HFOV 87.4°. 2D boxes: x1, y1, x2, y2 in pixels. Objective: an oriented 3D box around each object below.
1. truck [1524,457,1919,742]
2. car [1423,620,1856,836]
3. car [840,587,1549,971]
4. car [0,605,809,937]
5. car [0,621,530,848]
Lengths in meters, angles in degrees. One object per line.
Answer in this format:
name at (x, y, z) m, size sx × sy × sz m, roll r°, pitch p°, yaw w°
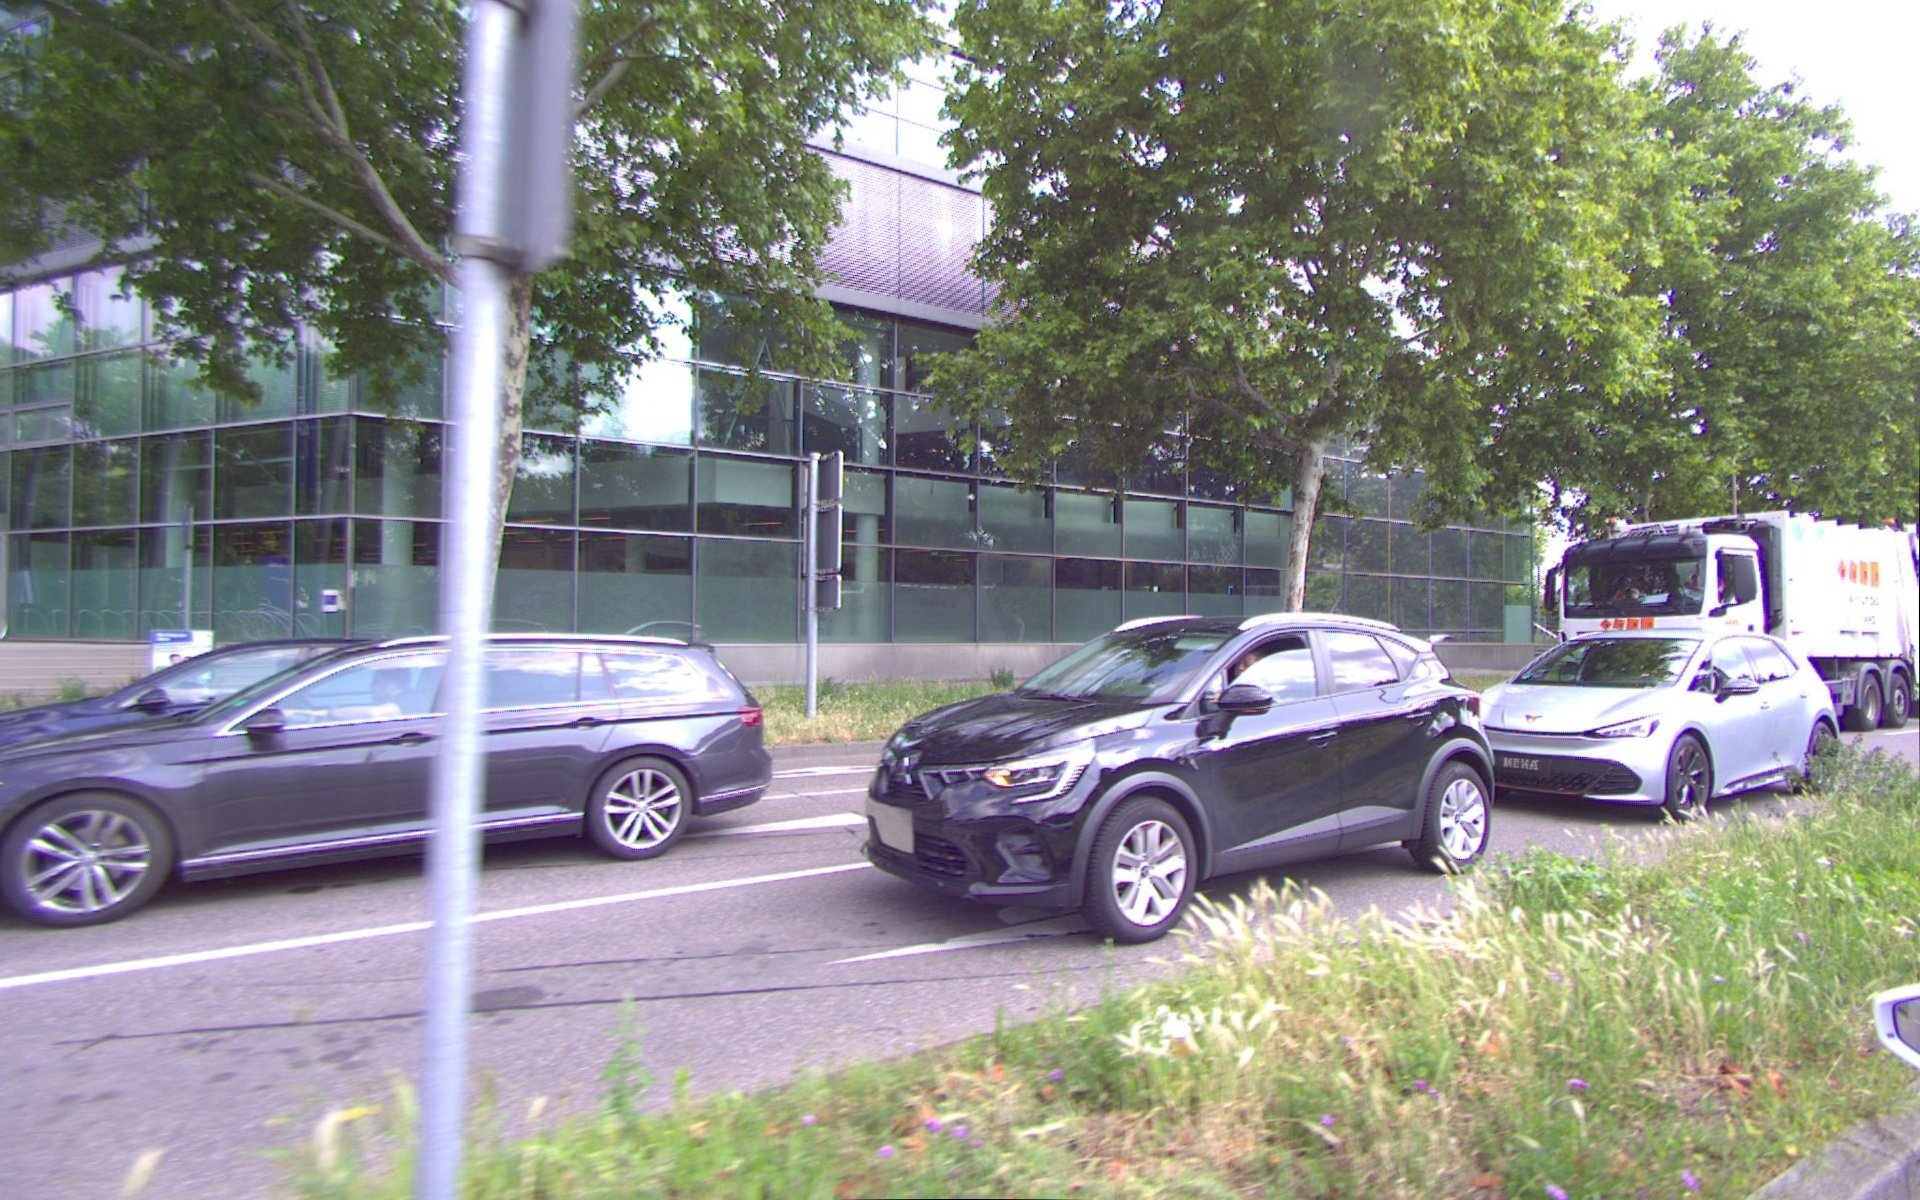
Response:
truck at (14.060, 0.151, 17.671) m, size 10.045 × 3.938 × 2.637 m, roll 2°, pitch -3°, yaw -32°
car at (6.312, 1.025, 9.225) m, size 4.187 × 1.573 × 1.735 m, roll 2°, pitch -3°, yaw -32°
car at (1.580, 0.843, 6.127) m, size 4.315 × 1.608 × 1.698 m, roll 2°, pitch -4°, yaw -33°
car at (-3.457, 0.890, 6.688) m, size 4.519 × 1.594 × 1.854 m, roll 1°, pitch -2°, yaw -33°
car at (-6.047, 1.008, 8.687) m, size 3.965 × 1.592 × 1.716 m, roll 2°, pitch -2°, yaw -38°
